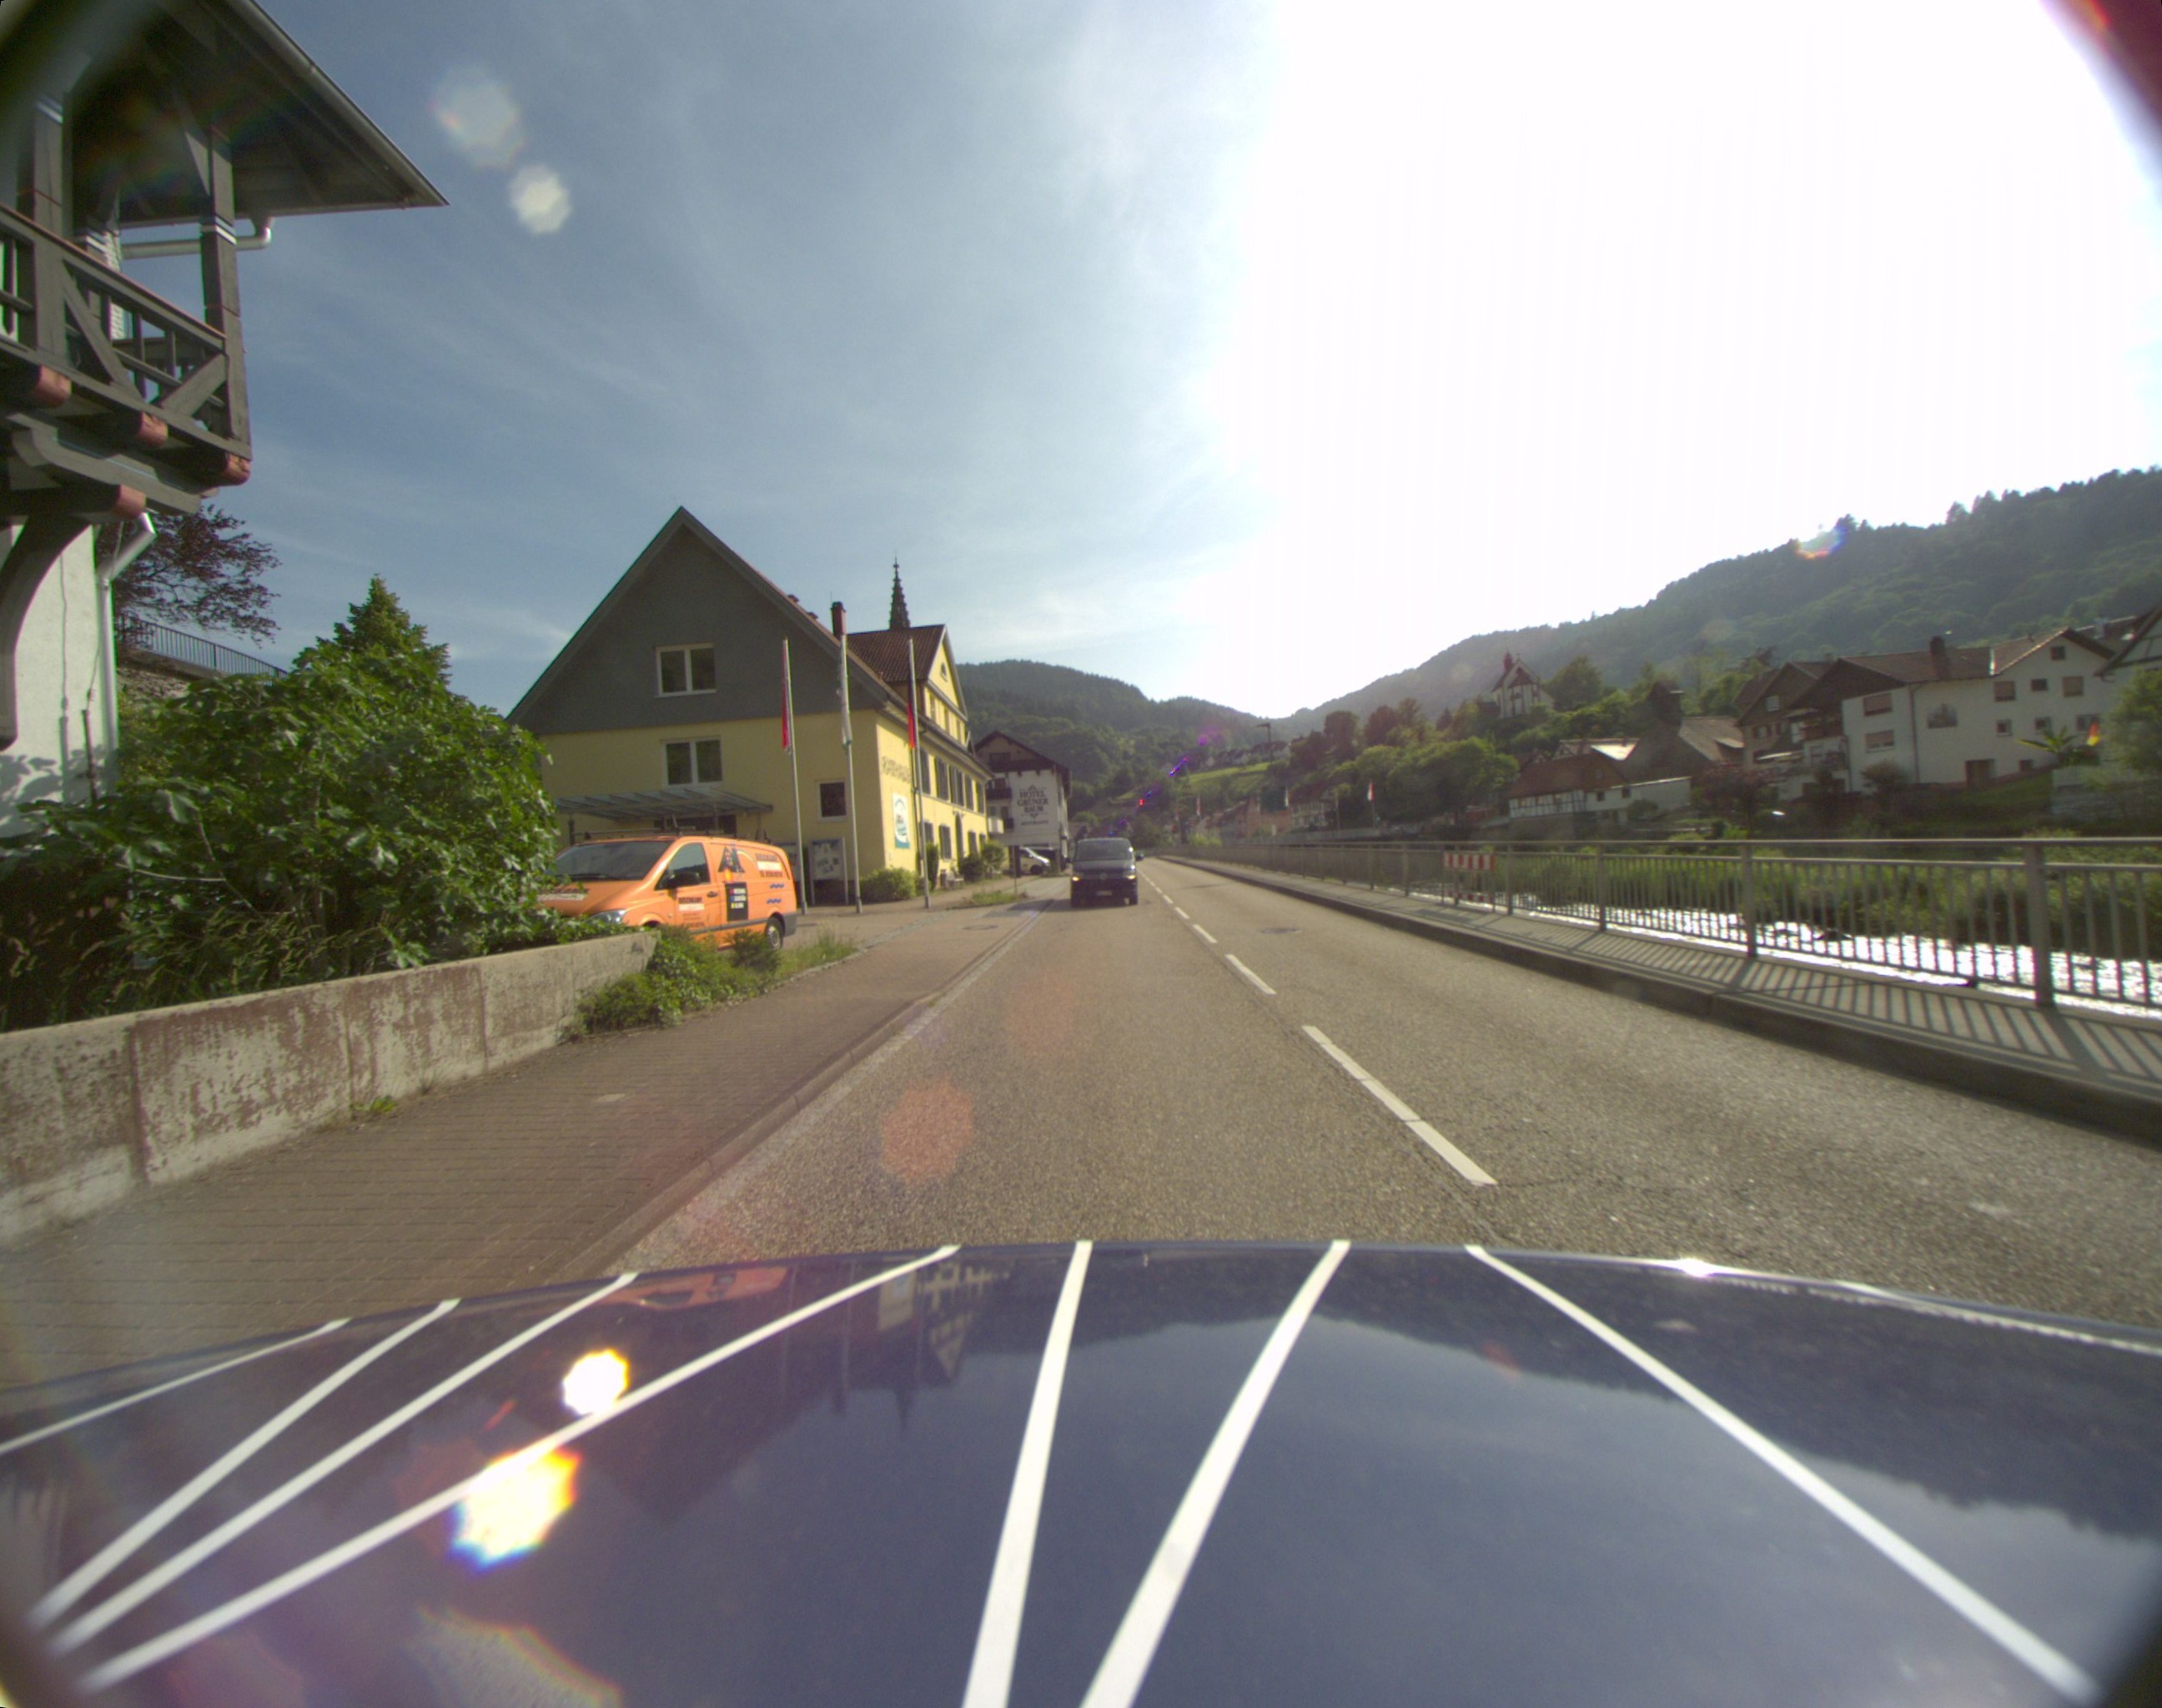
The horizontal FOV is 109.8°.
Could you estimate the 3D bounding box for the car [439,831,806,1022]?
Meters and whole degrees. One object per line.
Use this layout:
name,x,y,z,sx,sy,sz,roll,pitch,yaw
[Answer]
car,-5.834,0.786,10.618,1.913,1.986,4.836,-3,0,3

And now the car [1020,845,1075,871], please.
car,-2.521,0.288,58.470,3.995,1.871,1.685,-1,1,5

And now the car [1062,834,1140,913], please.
car,0.656,0.485,22.116,1.887,1.952,4.866,-4,0,3

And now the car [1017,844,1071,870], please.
car,-2.712,0.204,55.859,3.755,1.882,1.372,1,1,5

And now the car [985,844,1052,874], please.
car,-4.360,0.337,53.205,4.452,1.947,1.714,1,1,5
